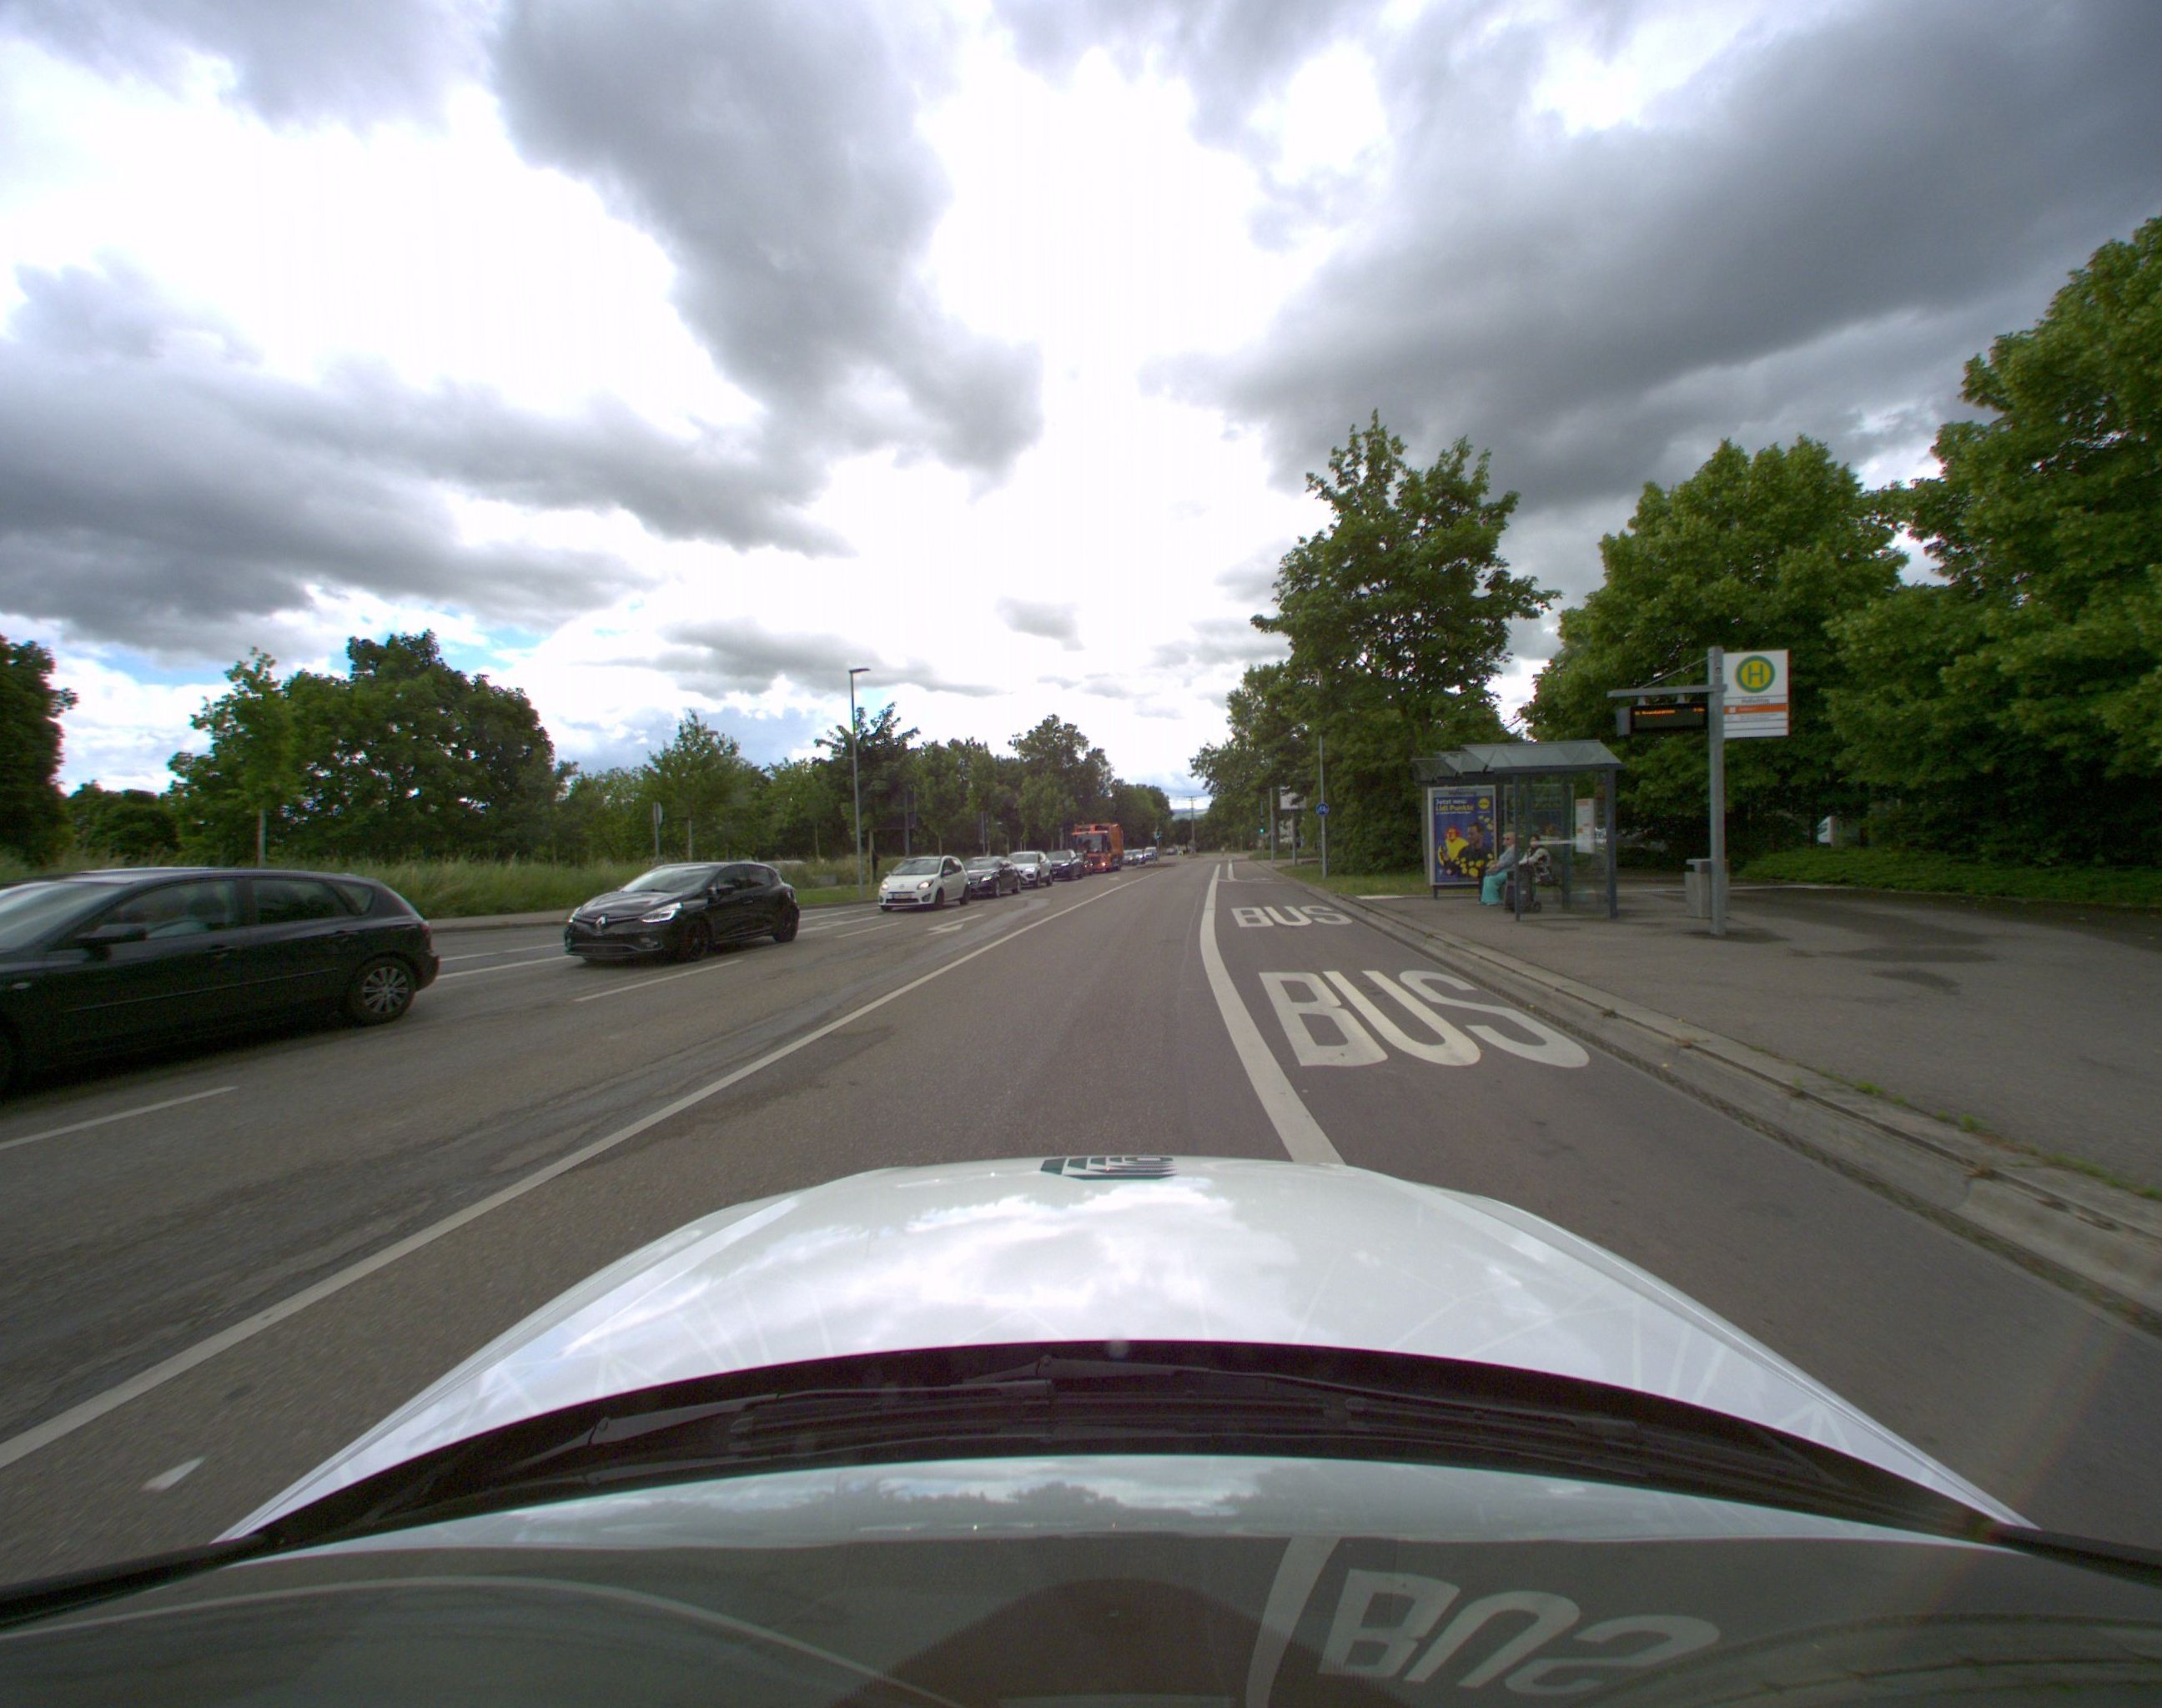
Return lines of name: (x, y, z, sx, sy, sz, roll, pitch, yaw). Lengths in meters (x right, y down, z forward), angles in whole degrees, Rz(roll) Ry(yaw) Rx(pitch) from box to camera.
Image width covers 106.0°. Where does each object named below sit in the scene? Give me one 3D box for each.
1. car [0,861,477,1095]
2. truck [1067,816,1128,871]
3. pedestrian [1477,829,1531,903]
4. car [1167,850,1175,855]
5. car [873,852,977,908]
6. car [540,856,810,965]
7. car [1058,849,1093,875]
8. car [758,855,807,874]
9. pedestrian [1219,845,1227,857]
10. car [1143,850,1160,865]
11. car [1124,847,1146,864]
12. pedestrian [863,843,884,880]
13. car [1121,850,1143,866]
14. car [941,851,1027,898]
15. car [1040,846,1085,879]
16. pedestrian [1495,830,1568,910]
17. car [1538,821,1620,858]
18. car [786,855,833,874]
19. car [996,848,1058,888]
car: (-7.195, 0.789, 5.994, 1.789, 1.332, 4.390, -2, 0, 8)
truck: (1.358, -0.760, 58.074, 2.689, 3.487, 10.023, -2, 0, 10)
pedestrian: (7.681, 0.212, 14.814, 0.723, 1.316, 0.591, -1, 0, 11)
car: (22.988, -0.358, 208.306, 1.761, 1.304, 4.010, -2, 0, 9)
car: (-4.308, 0.676, 23.045, 1.630, 1.390, 3.772, -2, 0, 9)
car: (-6.008, 0.752, 12.675, 1.630, 1.332, 4.071, -2, 0, 9)
car: (-0.288, 0.470, 49.172, 1.425, 1.457, 3.905, -2, 0, 9)
car: (-35.355, 1.259, 96.507, 4.940, 2.013, 2.004, -3, 0, 7)
pedestrian: (18.481, -0.400, 105.890, 0.789, 1.463, 0.746, -2, 0, -9)
car: (9.325, 0.473, 106.956, 1.835, 1.803, 4.661, -4, 0, 8)
car: (5.592, 0.126, 83.660, 1.835, 1.520, 4.827, -4, 0, 8)
pedestrian: (-10.579, 0.395, 41.532, 0.716, 1.835, 0.679, -2, 0, 10)
car: (4.761, 0.371, 75.443, 1.538, 1.331, 3.663, -4, 0, 9)
car: (-3.231, 0.640, 28.208, 1.630, 1.390, 4.898, -2, 0, 9)
car: (-0.928, 0.405, 43.052, 1.630, 1.585, 4.071, -2, 0, 9)
pedestrian: (7.432, 0.247, 13.449, 0.779, 1.252, 0.765, -2, 0, -32)
car: (33.634, -0.921, 55.130, 2.002, 2.326, 4.394, -2, 0, -22)
car: (-33.437, 1.293, 100.332, 4.942, 2.190, 2.003, -3, 0, 5)
car: (-2.289, 0.556, 35.473, 1.720, 1.585, 4.234, -2, 0, 9)
